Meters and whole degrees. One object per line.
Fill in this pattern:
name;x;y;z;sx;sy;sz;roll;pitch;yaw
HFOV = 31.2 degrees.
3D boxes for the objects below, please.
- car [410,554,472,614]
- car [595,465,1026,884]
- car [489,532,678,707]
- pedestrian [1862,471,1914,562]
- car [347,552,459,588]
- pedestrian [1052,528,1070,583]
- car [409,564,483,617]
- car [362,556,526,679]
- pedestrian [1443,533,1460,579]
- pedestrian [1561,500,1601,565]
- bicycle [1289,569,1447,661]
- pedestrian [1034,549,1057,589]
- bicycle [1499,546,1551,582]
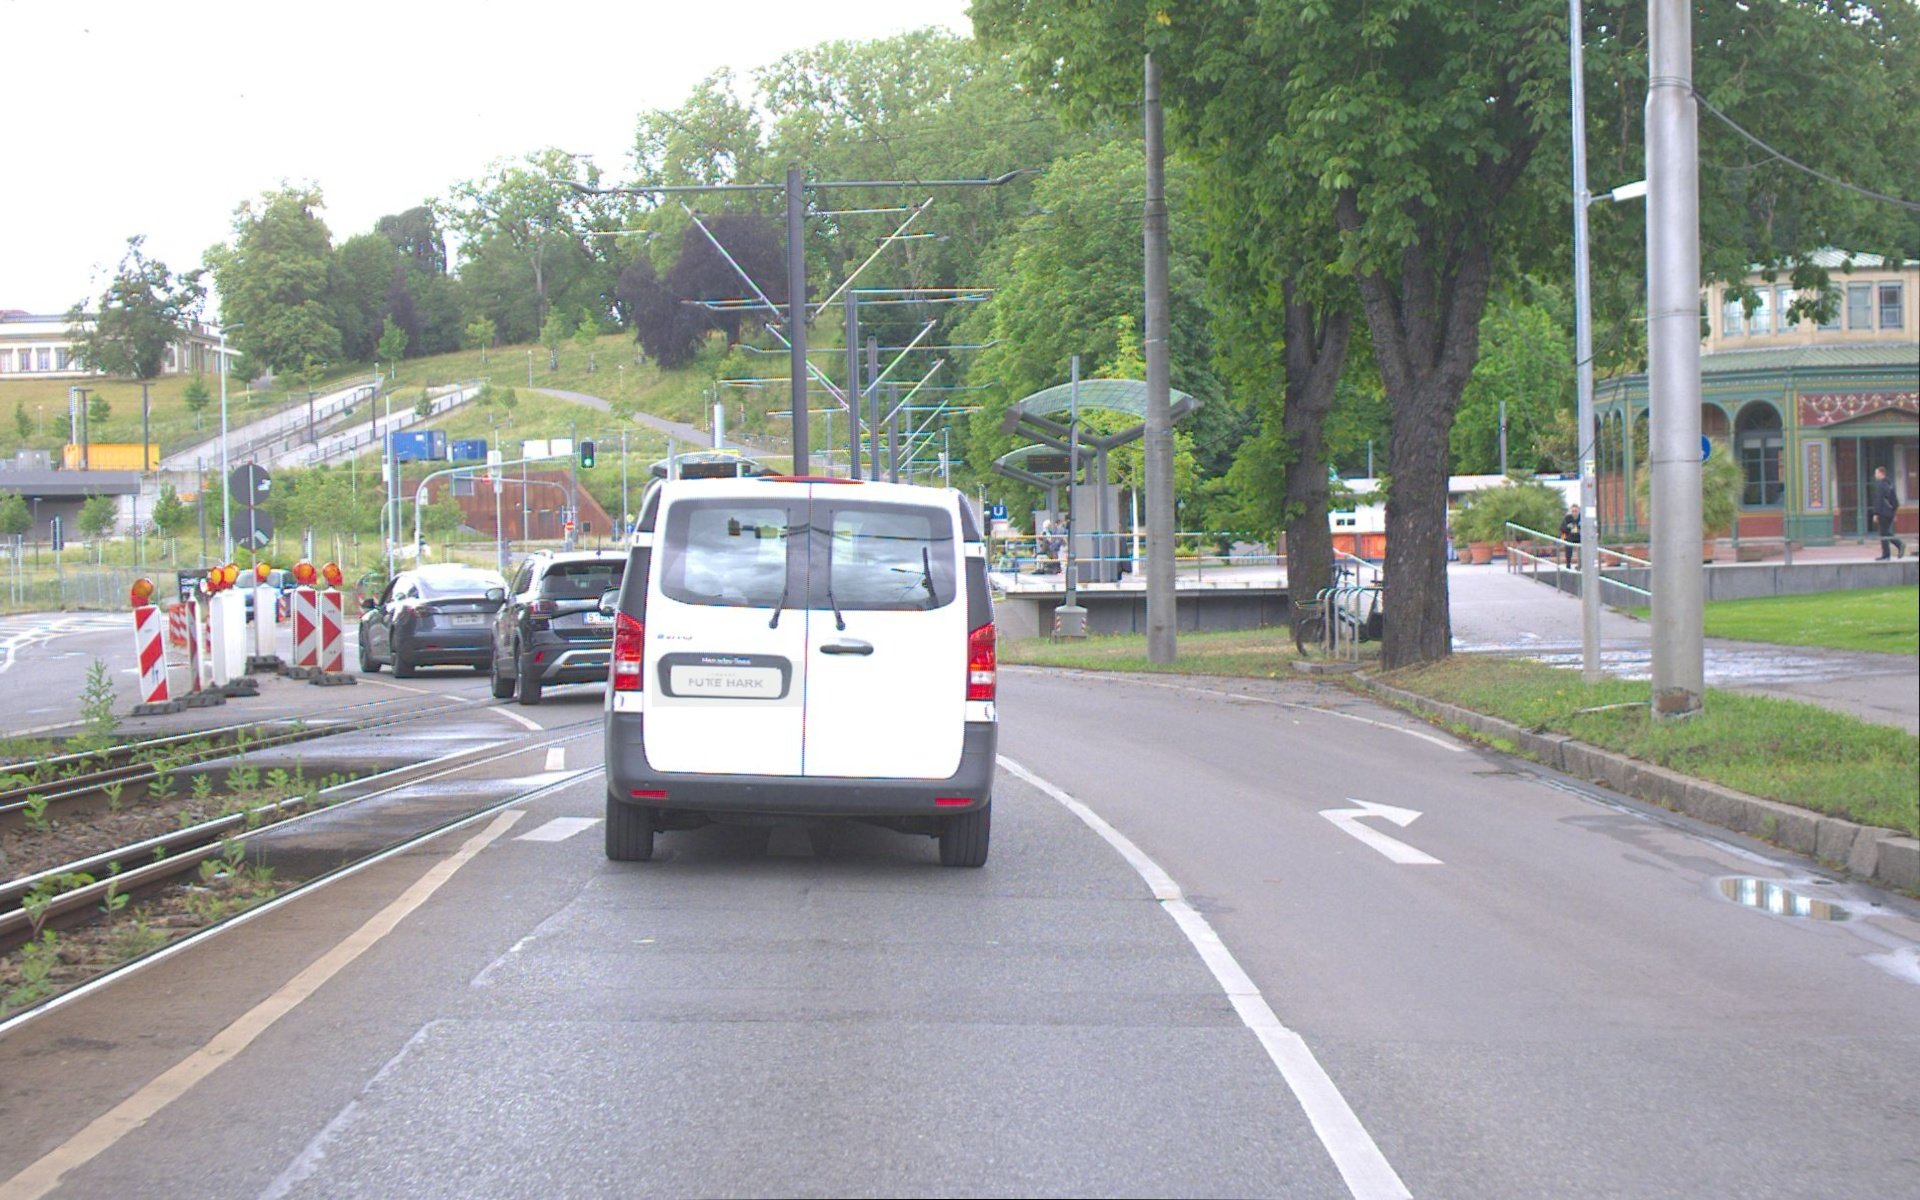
car;-18.069;-0.548;119.895;1.934;2.007;4.001;1;0;-6
car;-0.848;0.340;17.881;1.959;1.897;4.462;0;0;-4
car;-3.988;0.191;35.957;1.838;1.723;4.063;0;0;-8
pedestrian;18.985;-1.704;70.315;0.950;1.831;0.549;1;0;22
car;-26.102;-1.425;161.125;4.711;1.472;1.999;-2;1;11
pedestrian;3.033;-1.331;102.875;0.524;1.614;0.675;1;0;2
car;-14.584;-0.260;97.435;1.838;1.462;4.063;0;0;-12
car;-7.010;0.229;46.437;1.838;1.577;4.063;0;0;-14
pedestrian;16.126;-1.447;112.805;0.485;1.482;0.460;1;0;3
pedestrian;11.642;-1.260;64.459;0.548;1.197;0.669;1;0;-6
bicycle;5.326;0.193;44.943;1.991;1.154;0.741;-1;0;5
pedestrian;2.589;-0.936;104.229;0.657;1.187;0.675;1;0;2
bicycle;16.962;-1.087;103.248;0.562;1.057;1.716;1;0;-30
